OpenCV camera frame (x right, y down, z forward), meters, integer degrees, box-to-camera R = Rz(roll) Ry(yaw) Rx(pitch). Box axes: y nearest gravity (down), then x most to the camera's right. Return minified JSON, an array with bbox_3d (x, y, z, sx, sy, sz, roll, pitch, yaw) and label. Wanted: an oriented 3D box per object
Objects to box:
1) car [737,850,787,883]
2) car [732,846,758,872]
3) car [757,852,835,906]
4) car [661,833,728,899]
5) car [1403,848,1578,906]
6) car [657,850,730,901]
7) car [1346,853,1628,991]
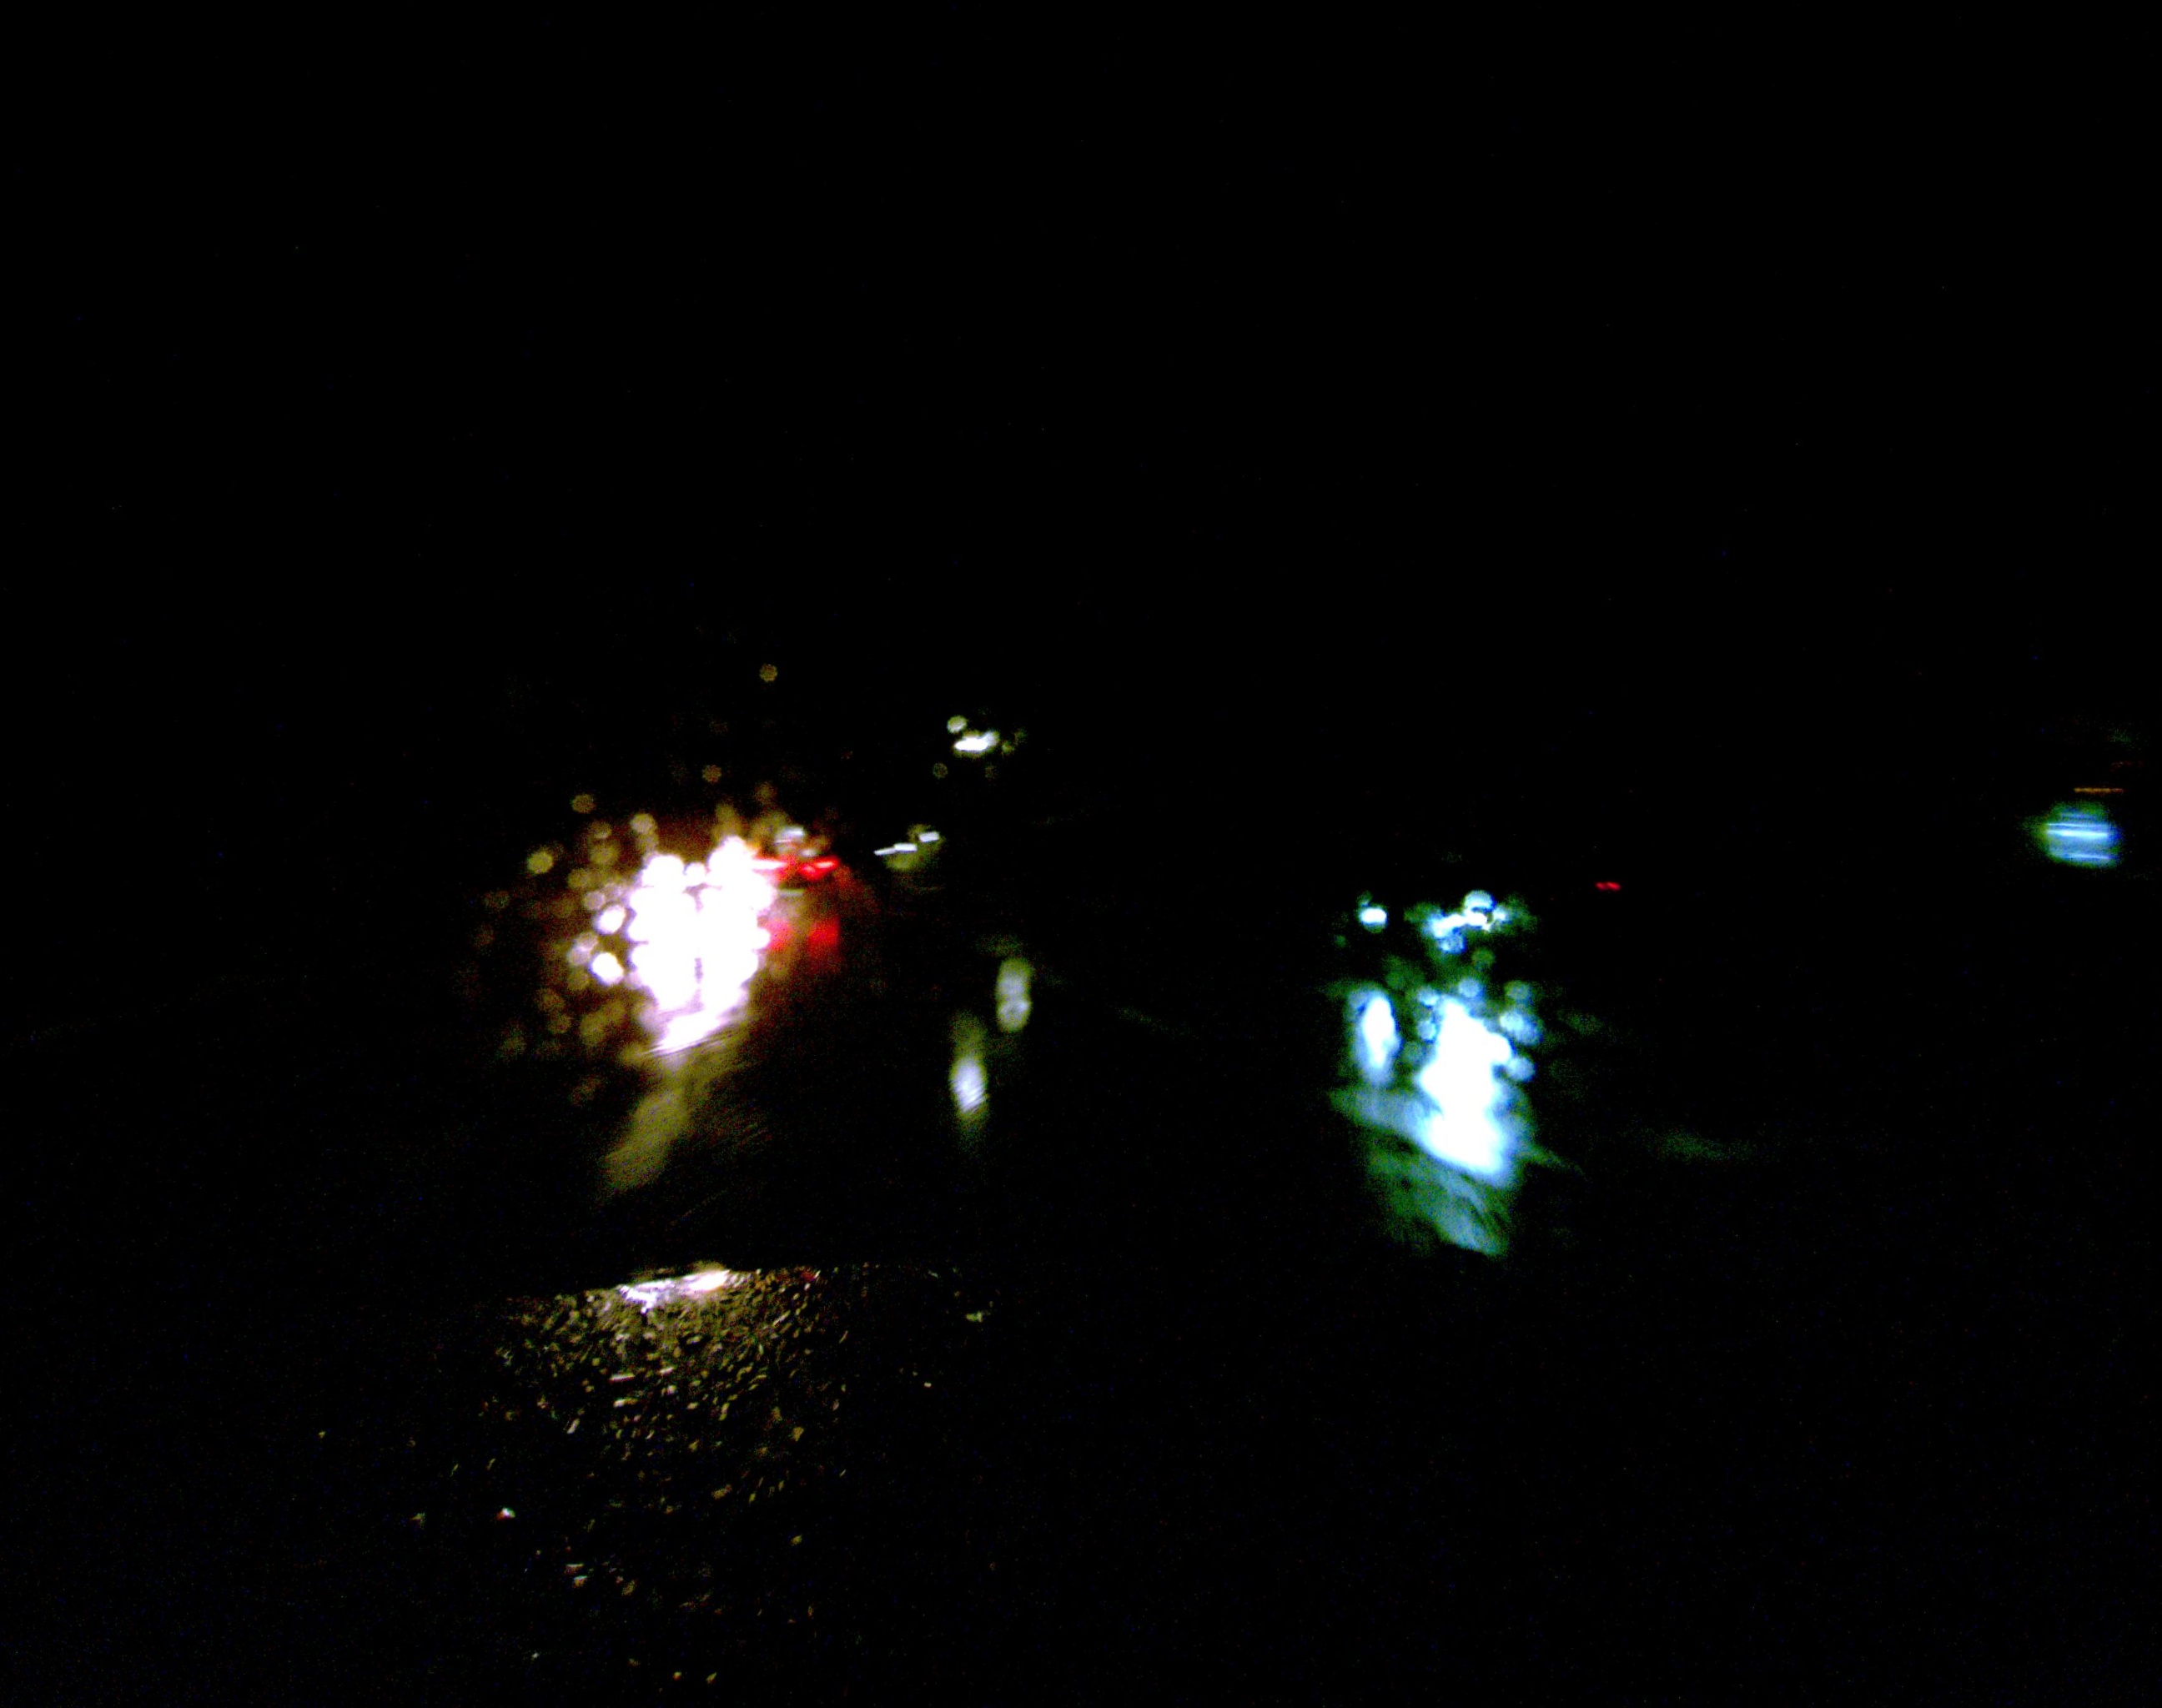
[{"bbox_3d":[-15.934,0.585,37.827,1.919,1.502,4.230,0,1,-28],"label":"car"},{"bbox_3d":[-26.379,0.431,59.610,1.779,1.935,4.246,1,-1,-25],"label":"car"},{"bbox_3d":[-9.709,0.795,25.678,2.067,1.668,4.130,1,-1,-26],"label":"car"},{"bbox_3d":[-15.594,0.534,30.858,2.177,2.427,4.852,-2,-2,-26],"label":"car"},{"bbox_3d":[12.524,0.624,23.584,1.942,1.577,4.471,0,1,-26],"label":"car"},{"bbox_3d":[-12.929,0.763,25.465,1.983,1.507,4.198,-2,-2,-26],"label":"car"},{"bbox_3d":[6.309,0.901,11.670,4.346,1.678,1.890,-1,-1,-33],"label":"car"}]
